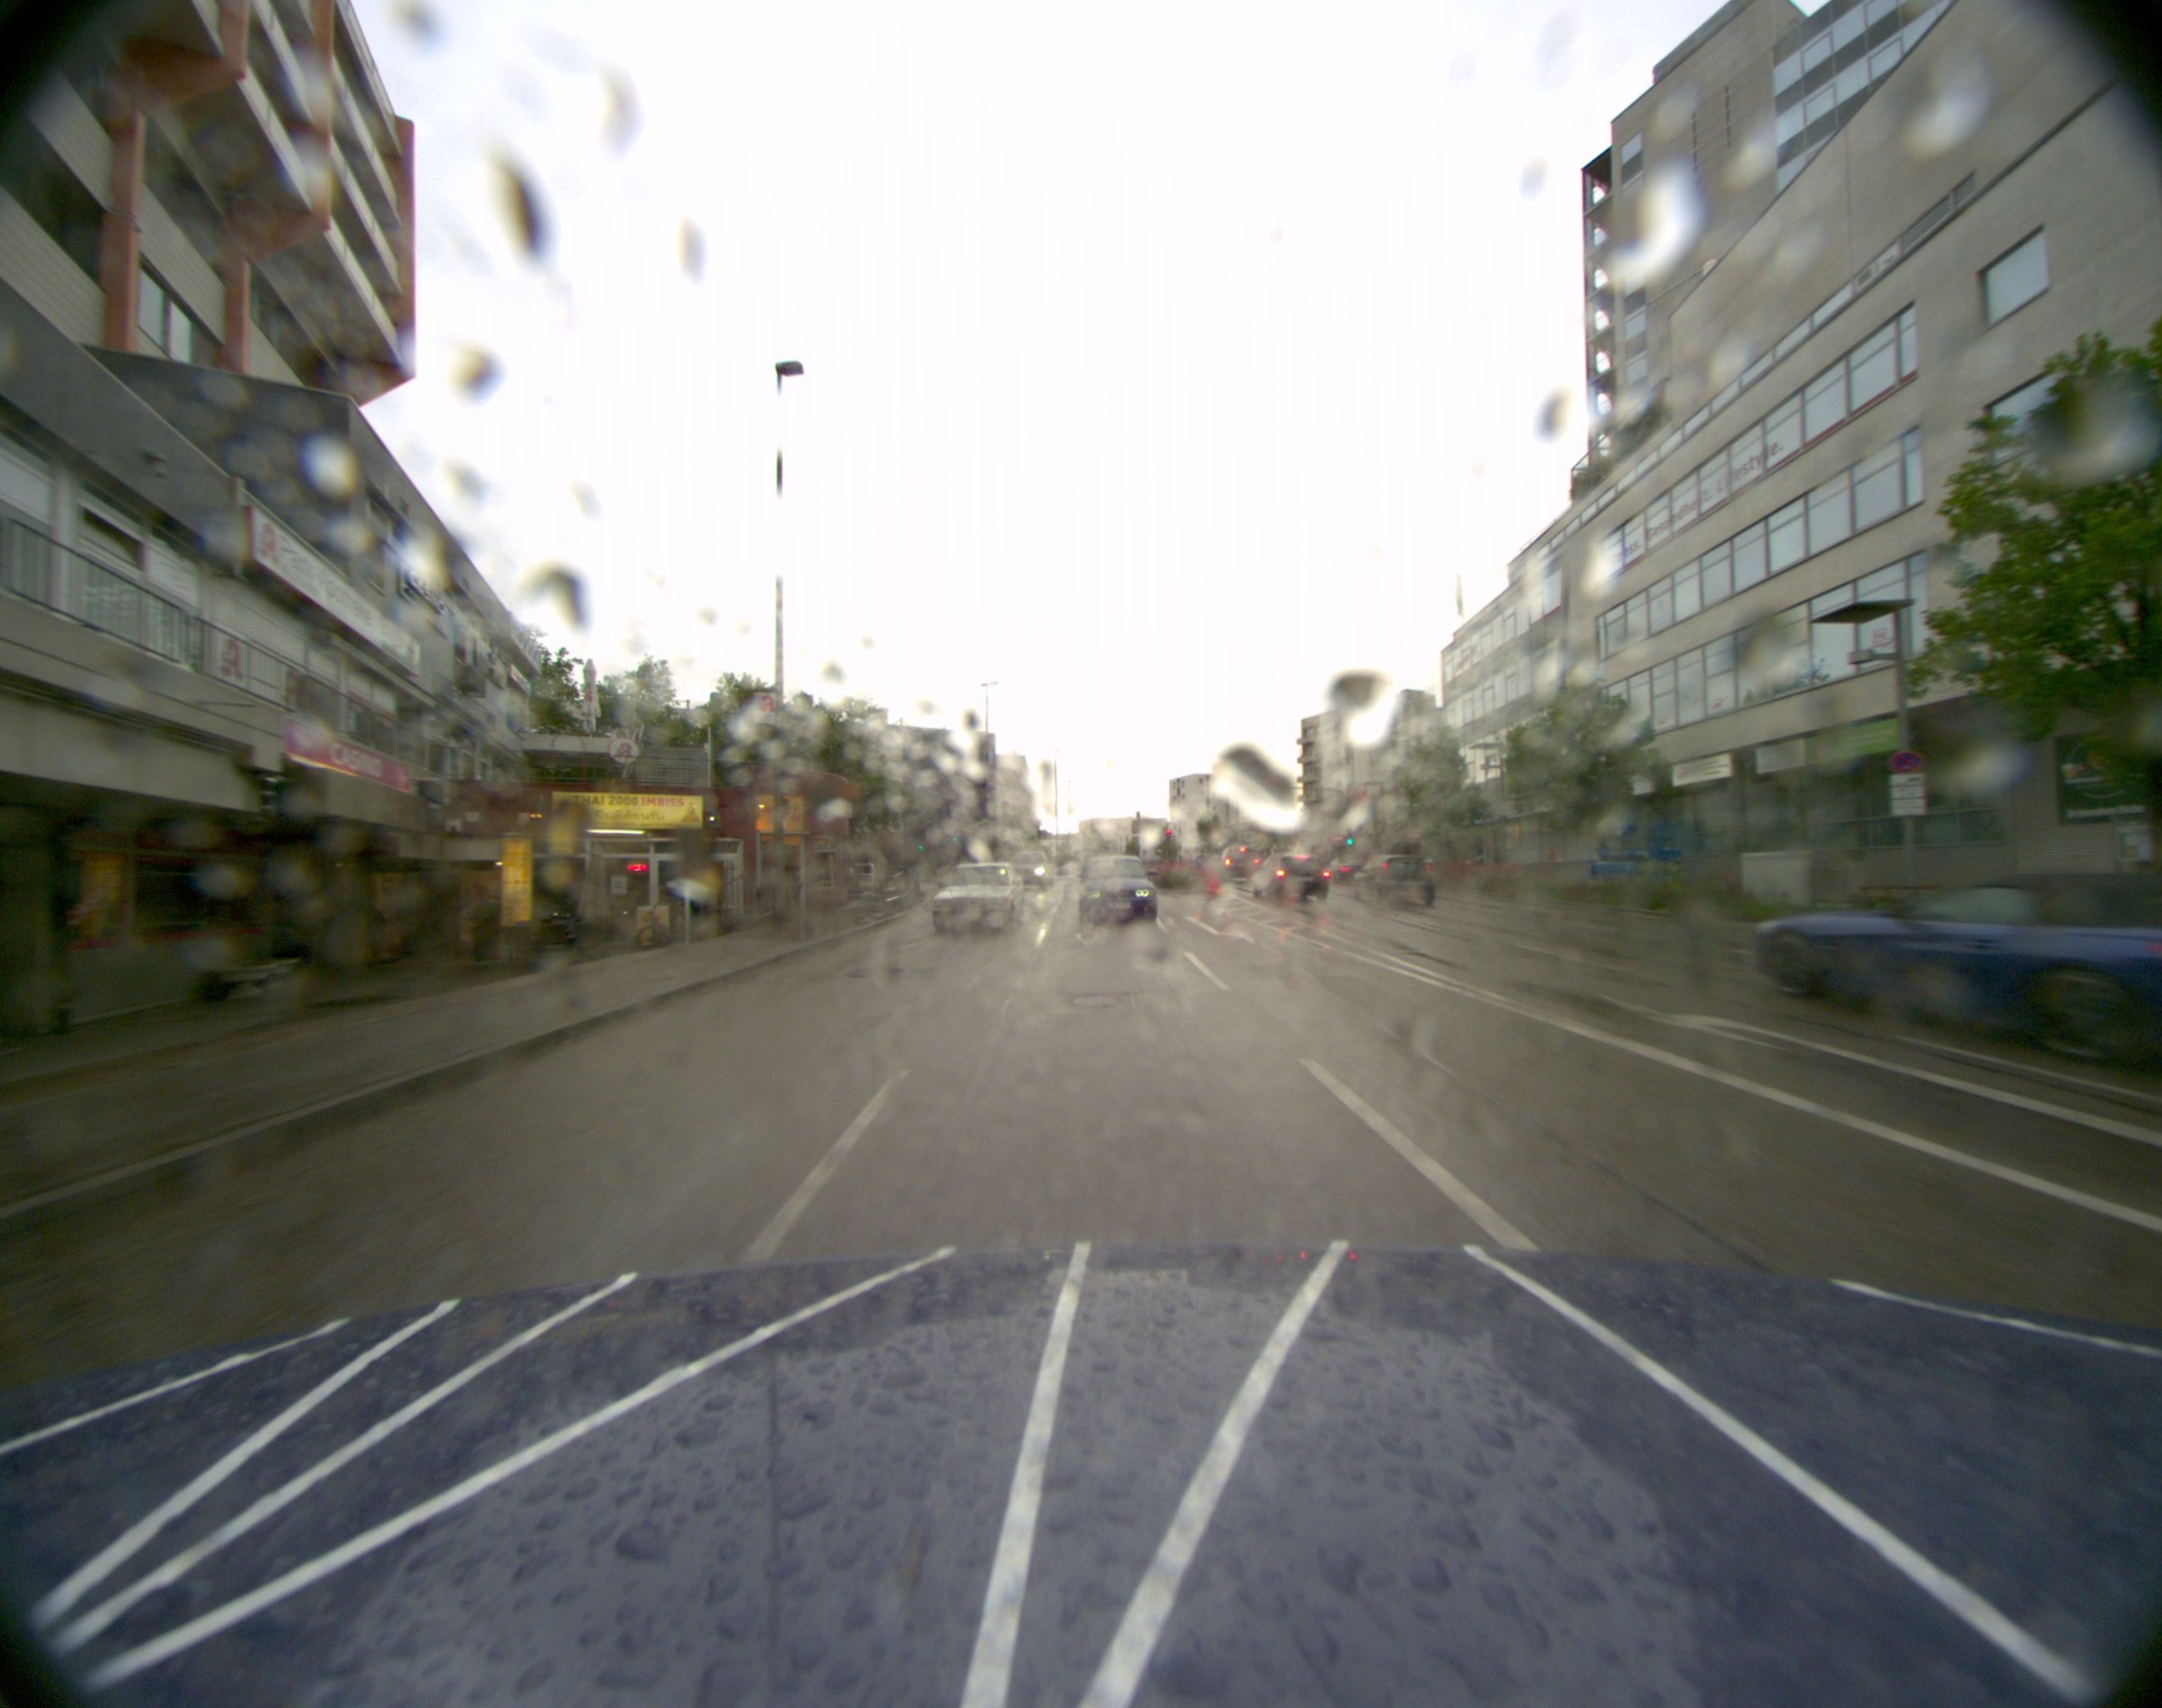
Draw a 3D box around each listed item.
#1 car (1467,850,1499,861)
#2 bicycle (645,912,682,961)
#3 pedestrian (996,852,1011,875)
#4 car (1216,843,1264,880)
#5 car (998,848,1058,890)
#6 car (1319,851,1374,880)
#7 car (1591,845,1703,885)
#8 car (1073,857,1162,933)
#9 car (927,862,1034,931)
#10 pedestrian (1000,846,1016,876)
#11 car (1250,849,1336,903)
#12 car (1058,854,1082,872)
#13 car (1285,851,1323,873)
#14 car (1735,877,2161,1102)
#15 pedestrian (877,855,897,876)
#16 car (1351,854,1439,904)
[{"bbox_3d":[45.805,0.211,86.594,3.074,1.186,1.443,-1,1,-17],"label":"car"},{"bbox_3d":[-9.230,1.797,16.771,0.532,0.932,1.573,1,0,-35],"label":"bicycle"},{"bbox_3d":[-4.653,0.554,45.669,0.687,1.372,0.772,2,2,11],"label":"pedestrian"},{"bbox_3d":[8.273,0.350,39.836,1.867,1.780,4.001,1,1,4],"label":"car"},{"bbox_3d":[-2.217,0.601,32.871,2.058,1.638,4.480,-1,1,2],"label":"car"},{"bbox_3d":[13.656,0.555,39.299,1.634,1.338,4.706,0,1,6],"label":"car"},{"bbox_3d":[21.308,0.379,28.804,1.756,1.402,3.731,-1,1,6],"label":"car"},{"bbox_3d":[0.837,0.813,16.763,1.688,1.373,3.794,-2,1,4],"label":"car"},{"bbox_3d":[-2.159,0.880,17.405,1.661,1.300,3.995,-1,1,4],"label":"car"},{"bbox_3d":[-4.460,0.412,46.560,0.687,1.793,0.797,2,2,11],"label":"pedestrian"},{"bbox_3d":[6.609,0.624,24.139,1.711,1.508,4.392,-1,1,3],"label":"car"},{"bbox_3d":[-0.924,0.790,67.736,1.854,1.491,3.906,-1,1,4],"label":"car"},{"bbox_3d":[16.160,0.537,55.191,1.920,1.539,4.003,0,1,6],"label":"car"},{"bbox_3d":[7.785,0.896,5.967,1.900,1.249,4.195,-1,1,5],"label":"car"},{"bbox_3d":[-13.424,0.799,52.533,0.924,1.392,1.209,-1,1,-34],"label":"pedestrian"},{"bbox_3d":[9.463,0.706,23.156,1.568,1.367,3.283,0,1,5],"label":"car"}]
